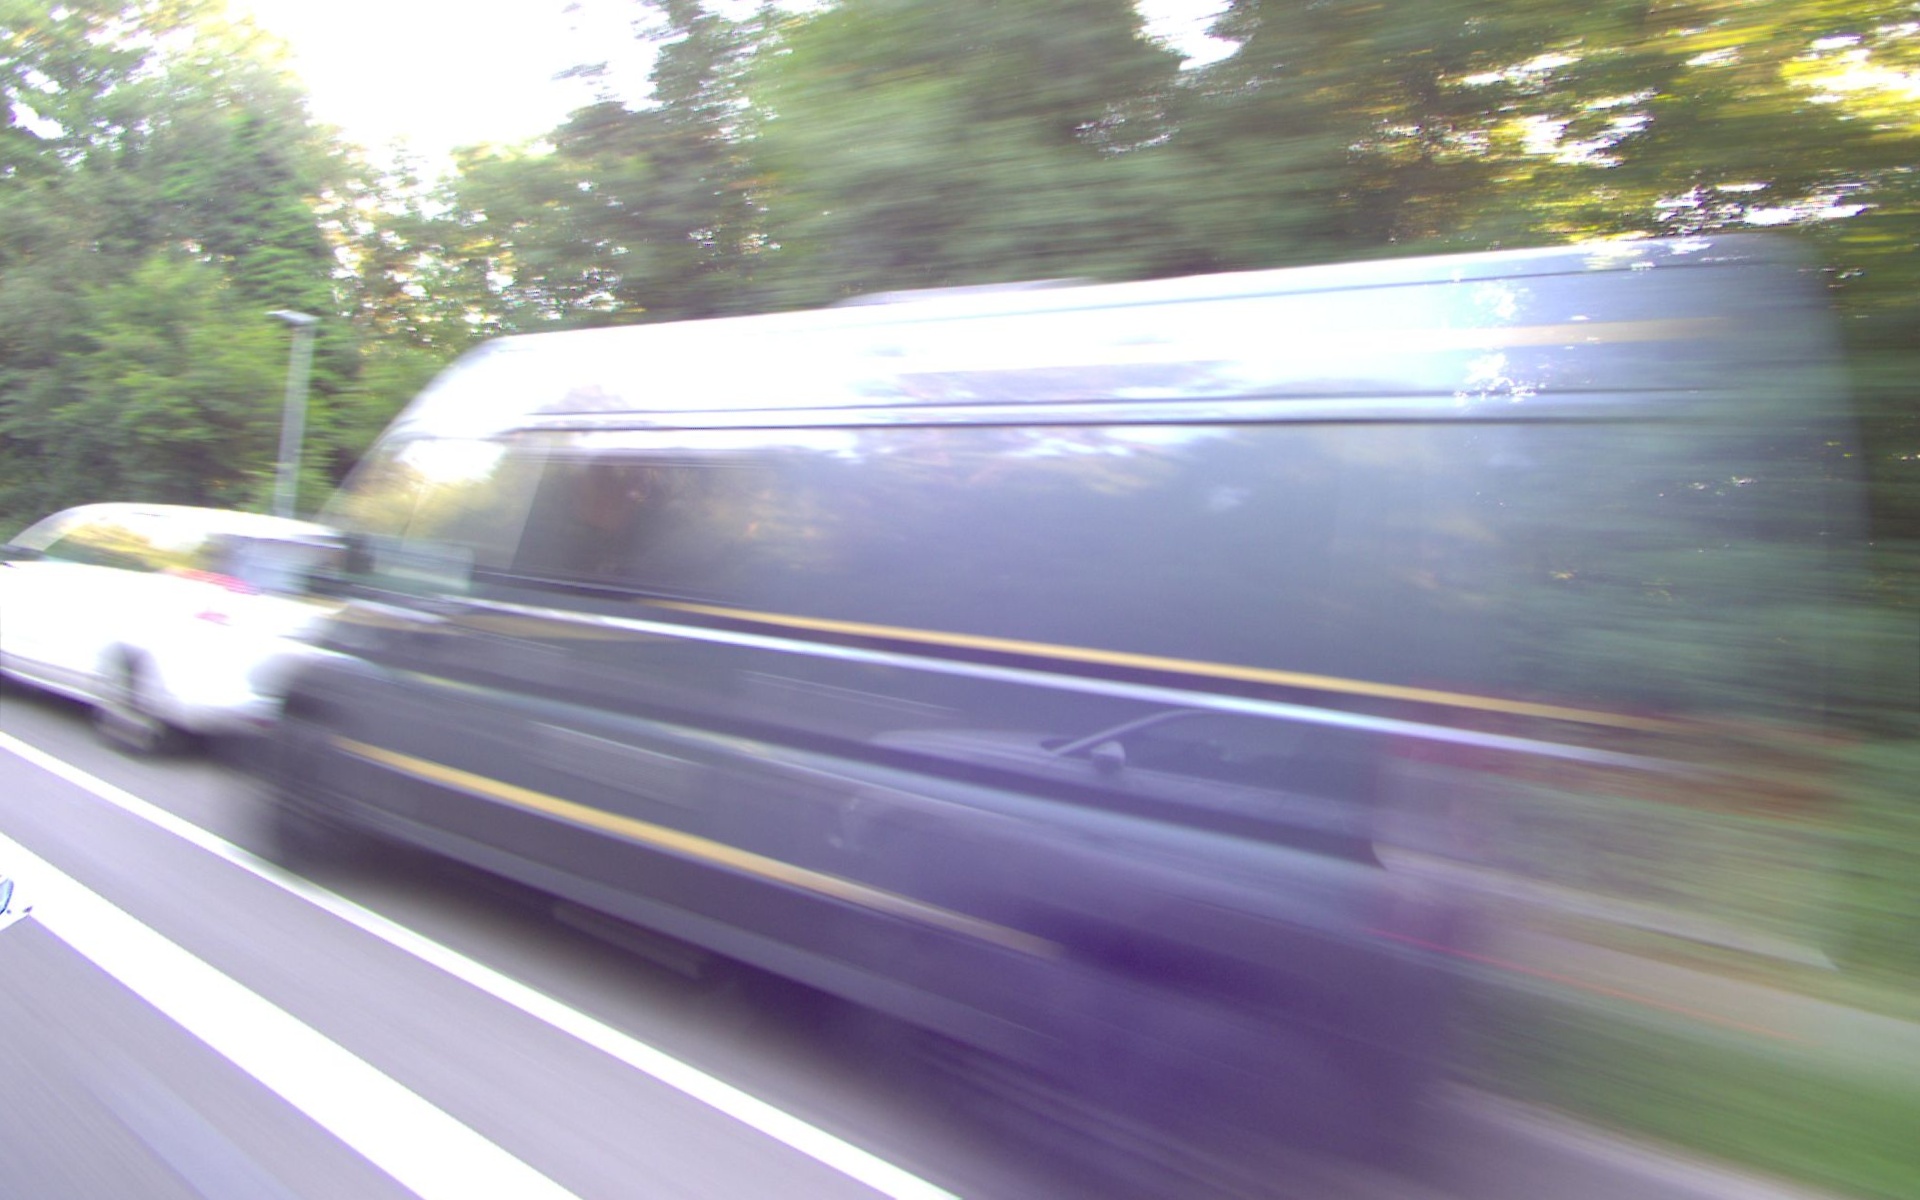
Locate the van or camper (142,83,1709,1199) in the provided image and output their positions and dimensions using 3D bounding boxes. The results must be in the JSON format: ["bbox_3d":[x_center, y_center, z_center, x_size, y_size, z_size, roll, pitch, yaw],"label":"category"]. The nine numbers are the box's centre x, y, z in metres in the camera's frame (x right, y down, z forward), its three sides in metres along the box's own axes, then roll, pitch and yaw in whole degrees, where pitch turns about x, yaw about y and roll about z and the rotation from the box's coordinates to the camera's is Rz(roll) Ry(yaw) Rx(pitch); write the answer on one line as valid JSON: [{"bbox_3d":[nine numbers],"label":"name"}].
[{"bbox_3d":[-0.764,0.181,4.303,5.959,2.570,2.131,5,-2,31],"label":"van or camper"}]

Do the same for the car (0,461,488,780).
[{"bbox_3d":[-6.099,0.028,7.851,4.644,1.785,1.856,7,-2,29],"label":"car"}]
